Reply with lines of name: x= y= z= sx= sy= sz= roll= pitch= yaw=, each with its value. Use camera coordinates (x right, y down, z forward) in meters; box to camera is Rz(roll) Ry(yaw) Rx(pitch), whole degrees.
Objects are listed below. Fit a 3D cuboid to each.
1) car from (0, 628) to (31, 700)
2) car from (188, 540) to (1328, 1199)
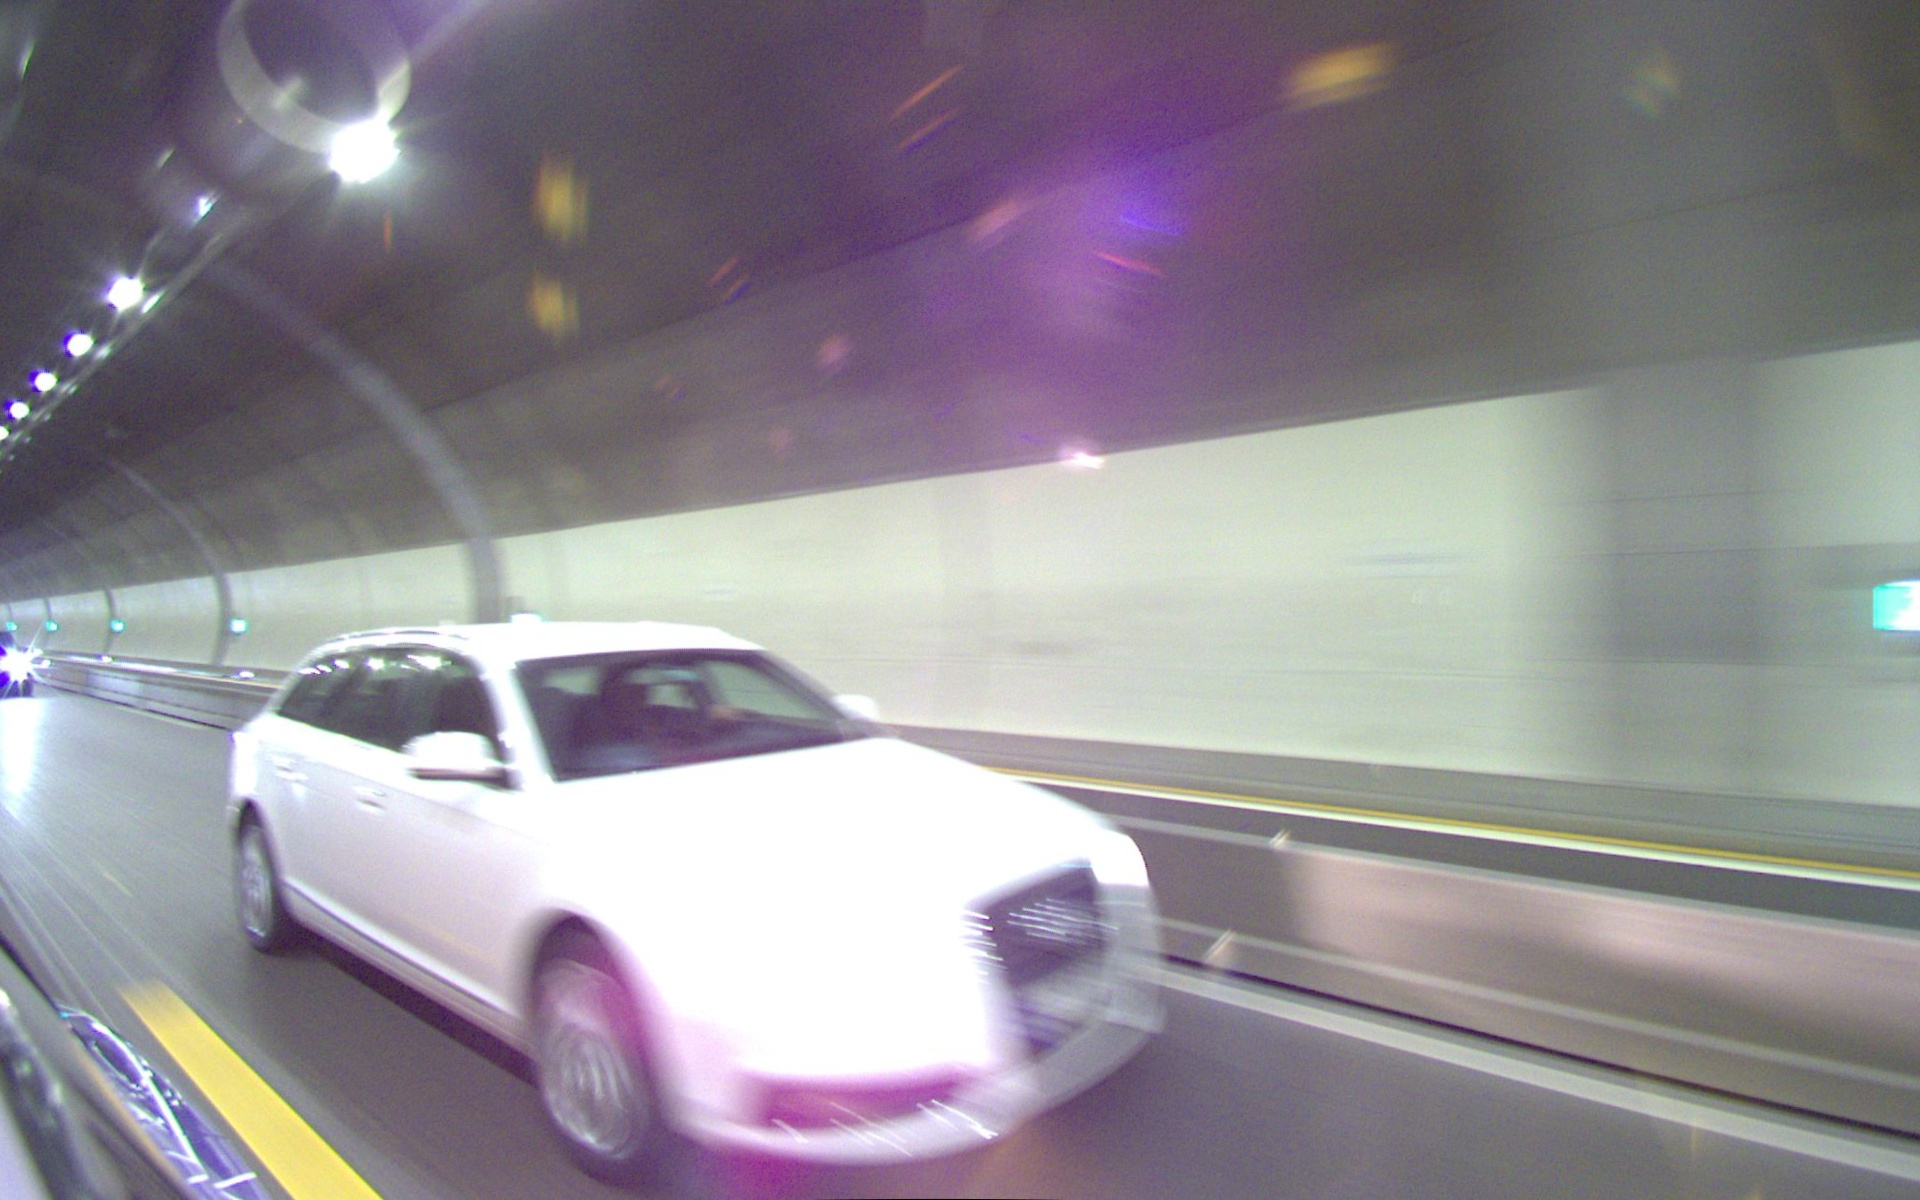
car: x=-20.889 y=1.321 z=21.261 sx=3.655 sy=1.414 sz=1.635 roll=-1 pitch=-1 yaw=41
car: x=-1.330 y=0.724 z=4.084 sx=4.941 sy=1.496 sz=1.883 roll=-2 pitch=-2 yaw=41
